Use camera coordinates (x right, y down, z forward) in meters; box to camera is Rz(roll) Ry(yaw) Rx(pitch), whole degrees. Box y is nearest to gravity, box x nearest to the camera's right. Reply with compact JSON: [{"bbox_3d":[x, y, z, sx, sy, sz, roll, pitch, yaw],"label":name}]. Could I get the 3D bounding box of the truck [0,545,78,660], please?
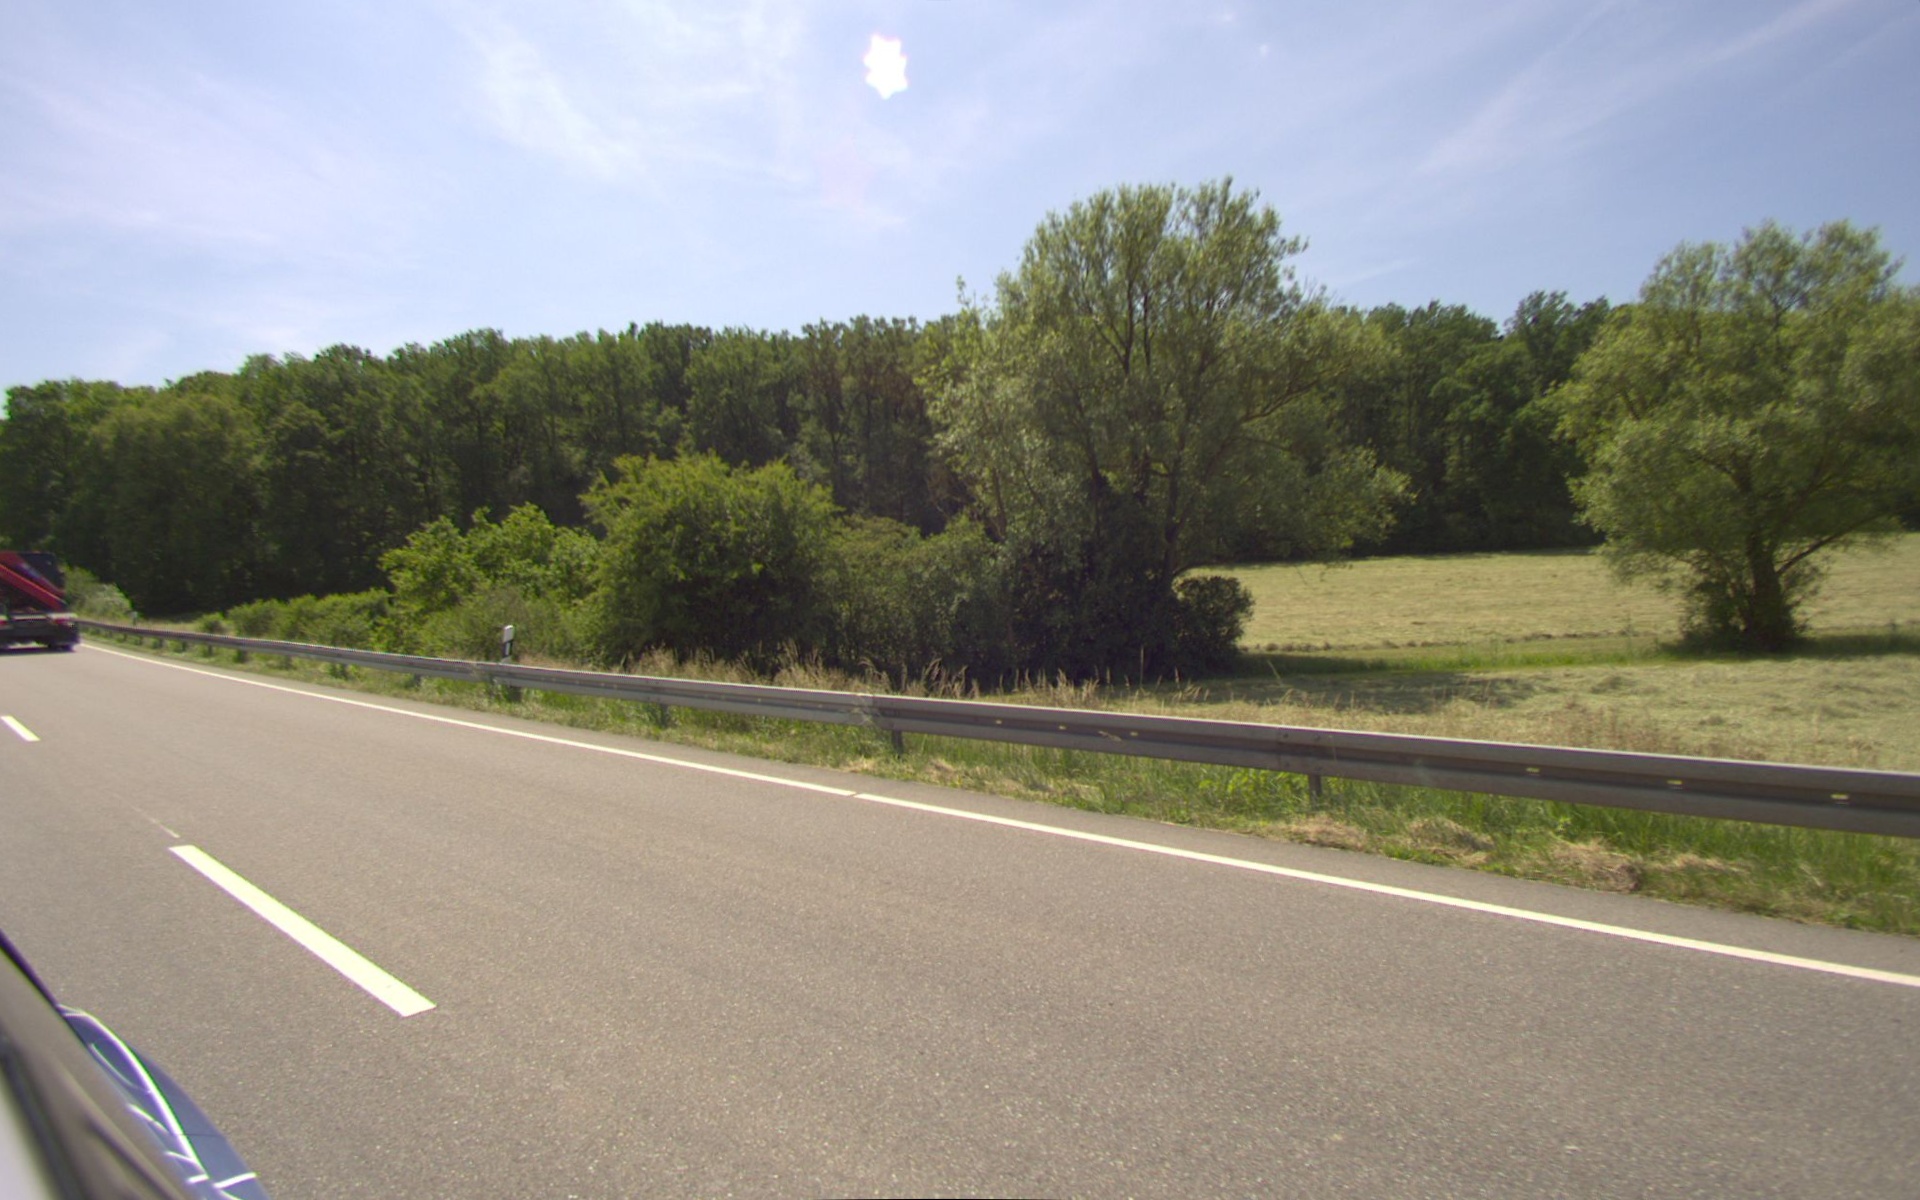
[{"bbox_3d":[-33.995,0.104,36.461,2.672,3.677,10.106,-2,1,-45],"label":"truck"}]
